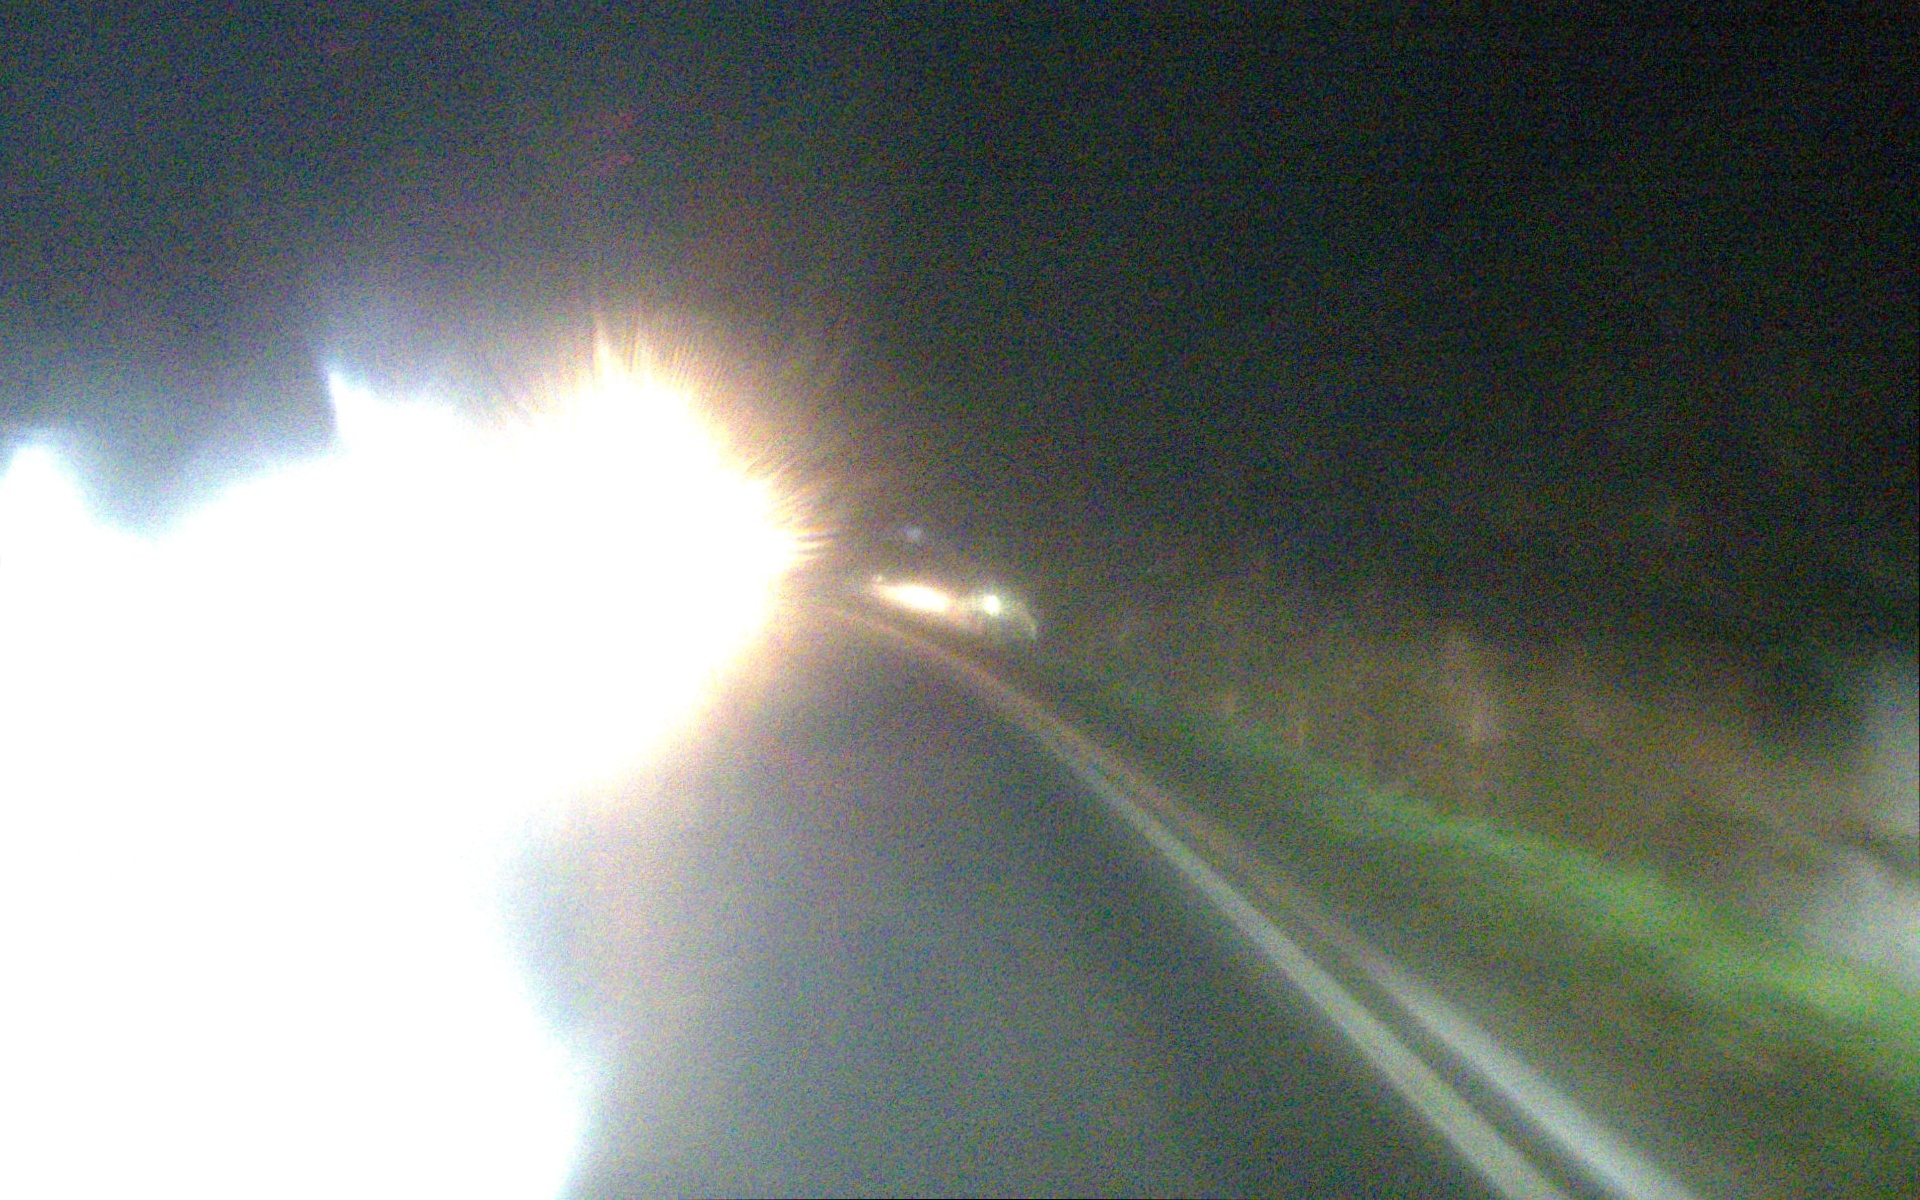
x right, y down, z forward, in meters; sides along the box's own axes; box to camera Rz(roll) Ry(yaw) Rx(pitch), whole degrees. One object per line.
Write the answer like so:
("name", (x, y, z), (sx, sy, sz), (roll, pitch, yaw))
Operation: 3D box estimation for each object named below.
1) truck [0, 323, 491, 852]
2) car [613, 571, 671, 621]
("truck", (-3.926, -0.105, 19.198), (2.137, 2.526, 5.280), (1, 1, -3))
("car", (-10.792, -0.155, 116.600), (1.920, 1.640, 4.026), (0, 1, -5))
